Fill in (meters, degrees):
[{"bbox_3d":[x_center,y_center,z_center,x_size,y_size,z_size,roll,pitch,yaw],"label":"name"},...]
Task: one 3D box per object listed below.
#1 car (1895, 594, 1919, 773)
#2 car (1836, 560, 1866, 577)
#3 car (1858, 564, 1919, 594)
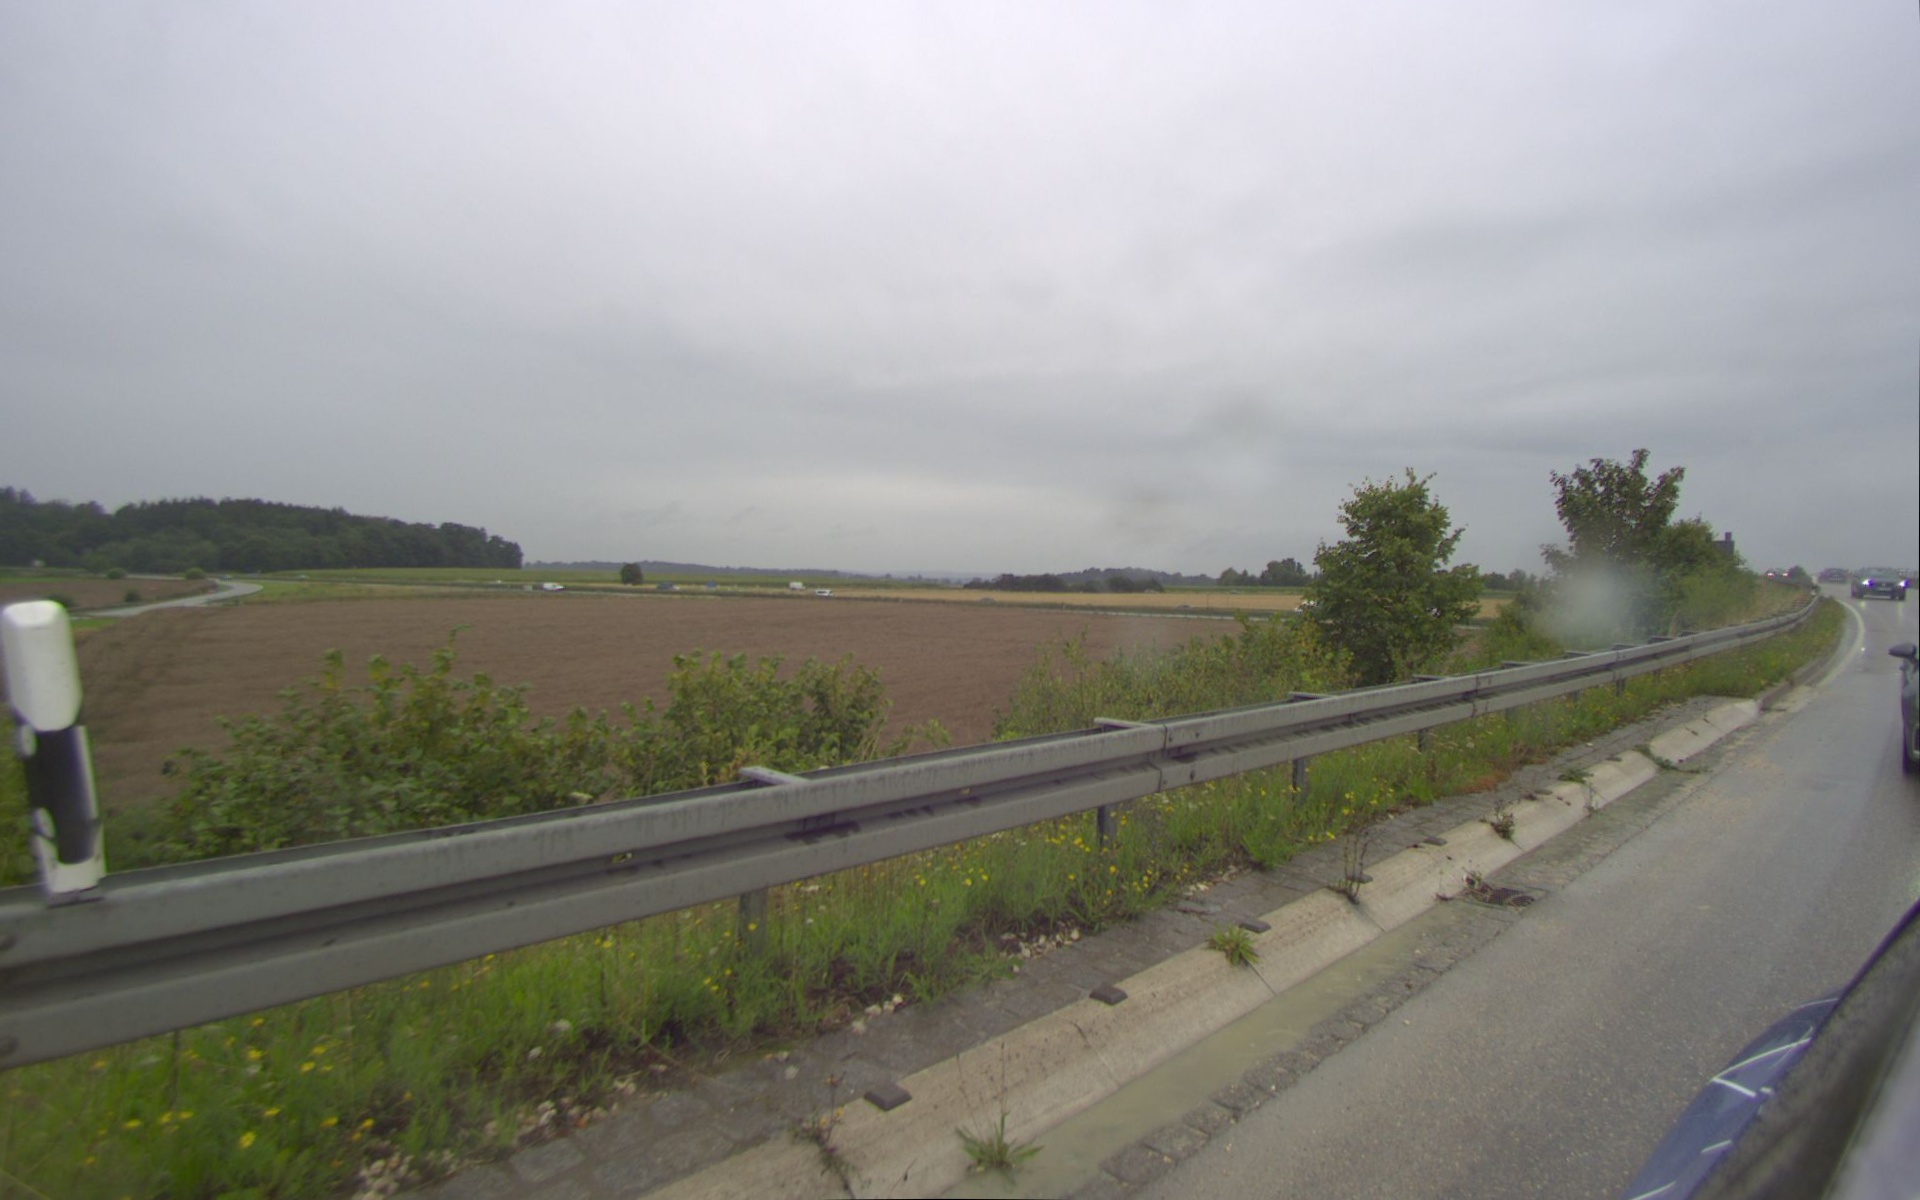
[{"bbox_3d":[9.760,0.637,8.771,4.484,1.386,1.908,-1,1,-40],"label":"car"},{"bbox_3d":[83.320,-2.940,94.680,1.777,1.544,4.113,3,4,38],"label":"car"},{"bbox_3d":[44.982,-1.052,49.120,1.902,1.386,4.501,1,2,39],"label":"car"}]
